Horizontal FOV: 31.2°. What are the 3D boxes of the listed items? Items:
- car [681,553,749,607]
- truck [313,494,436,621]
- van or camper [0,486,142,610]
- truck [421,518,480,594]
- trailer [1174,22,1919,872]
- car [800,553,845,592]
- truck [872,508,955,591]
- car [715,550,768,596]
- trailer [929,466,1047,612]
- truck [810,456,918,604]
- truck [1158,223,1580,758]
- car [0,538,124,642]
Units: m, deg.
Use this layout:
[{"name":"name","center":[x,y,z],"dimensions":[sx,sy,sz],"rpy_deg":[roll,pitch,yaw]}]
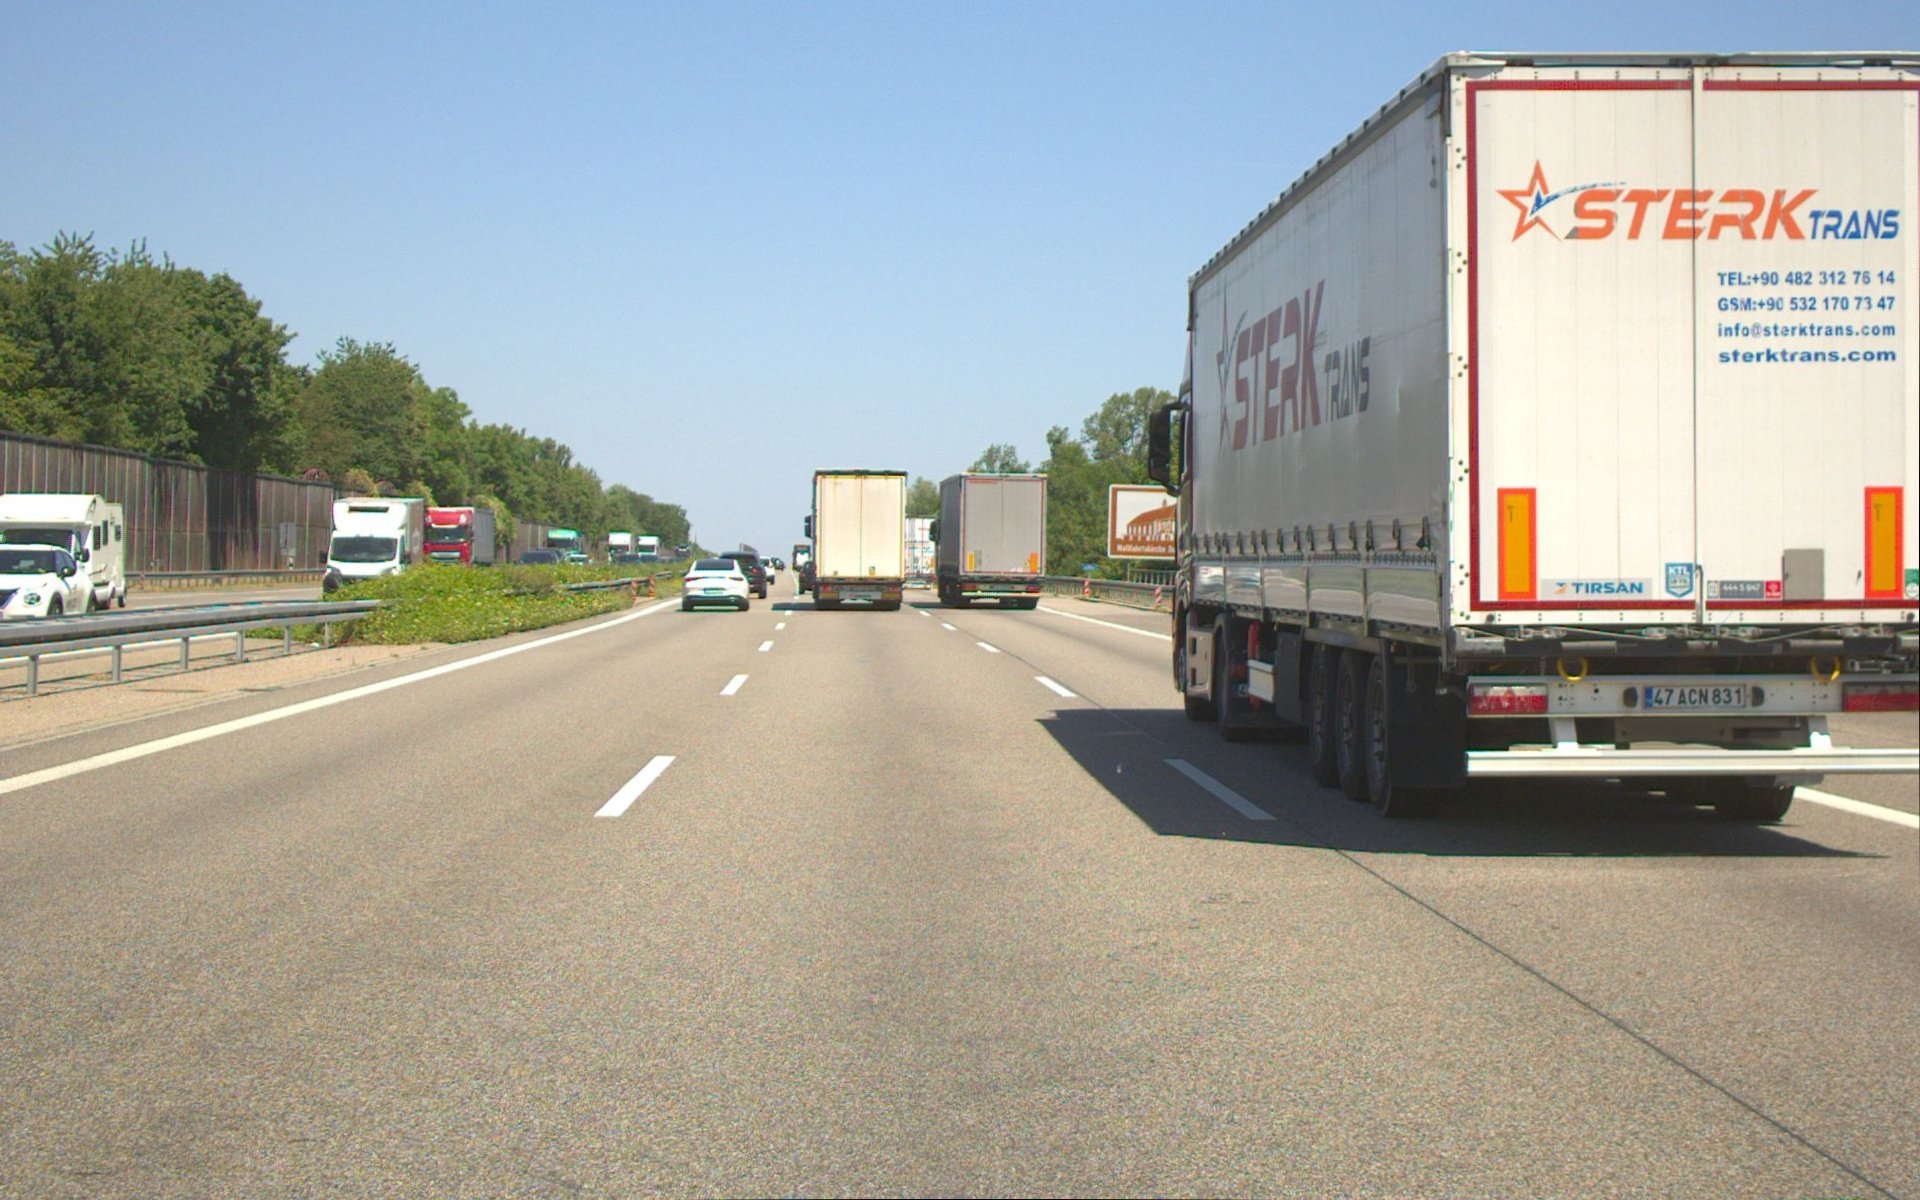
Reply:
[{"name":"car","center":[-6.876,-0.578,96.887],"dimensions":[1.855,1.481,4.001],"rpy_deg":[1,1,-4]},{"name":"truck","center":[-15.991,-1.170,94.295],"dimensions":[2.409,3.341,6.920],"rpy_deg":[1,1,-2]},{"name":"van or camper","center":[-22.593,-1.314,86.313],"dimensions":[2.557,2.904,7.376],"rpy_deg":[2,1,-3]},{"name":"truck","center":[-27.865,-2.396,188.097],"dimensions":[2.487,4.073,4.677],"rpy_deg":[0,0,0]},{"name":"trailer","center":[3.484,-0.815,23.710],"dimensions":[2.707,4.074,14.152],"rpy_deg":[1,1,-2]},{"name":"car","center":[-5.850,-1.160,145.762],"dimensions":[1.855,1.611,4.000],"rpy_deg":[1,1,-3]},{"name":"truck","center":[-2.628,-2.807,190.428],"dimensions":[3.373,4.289,11.452],"rpy_deg":[4,1,-6]},{"name":"car","center":[-7.947,-0.984,125.230],"dimensions":[1.855,1.611,4.001],"rpy_deg":[1,1,-3]},{"name":"trailer","center":[0.762,-1.865,107.353],"dimensions":[2.703,4.201,13.214],"rpy_deg":[2,0,-3]},{"name":"truck","center":[-2.991,-2.032,103.144],"dimensions":[2.706,4.072,13.475],"rpy_deg":[2,0,-3]},{"name":"truck","center":[3.345,-0.880,29.927],"dimensions":[2.707,4.074,6.965],"rpy_deg":[1,1,-1]},{"name":"car","center":[-14.509,-0.187,53.502],"dimensions":[1.919,1.541,4.582],"rpy_deg":[1,1,-1]}]
